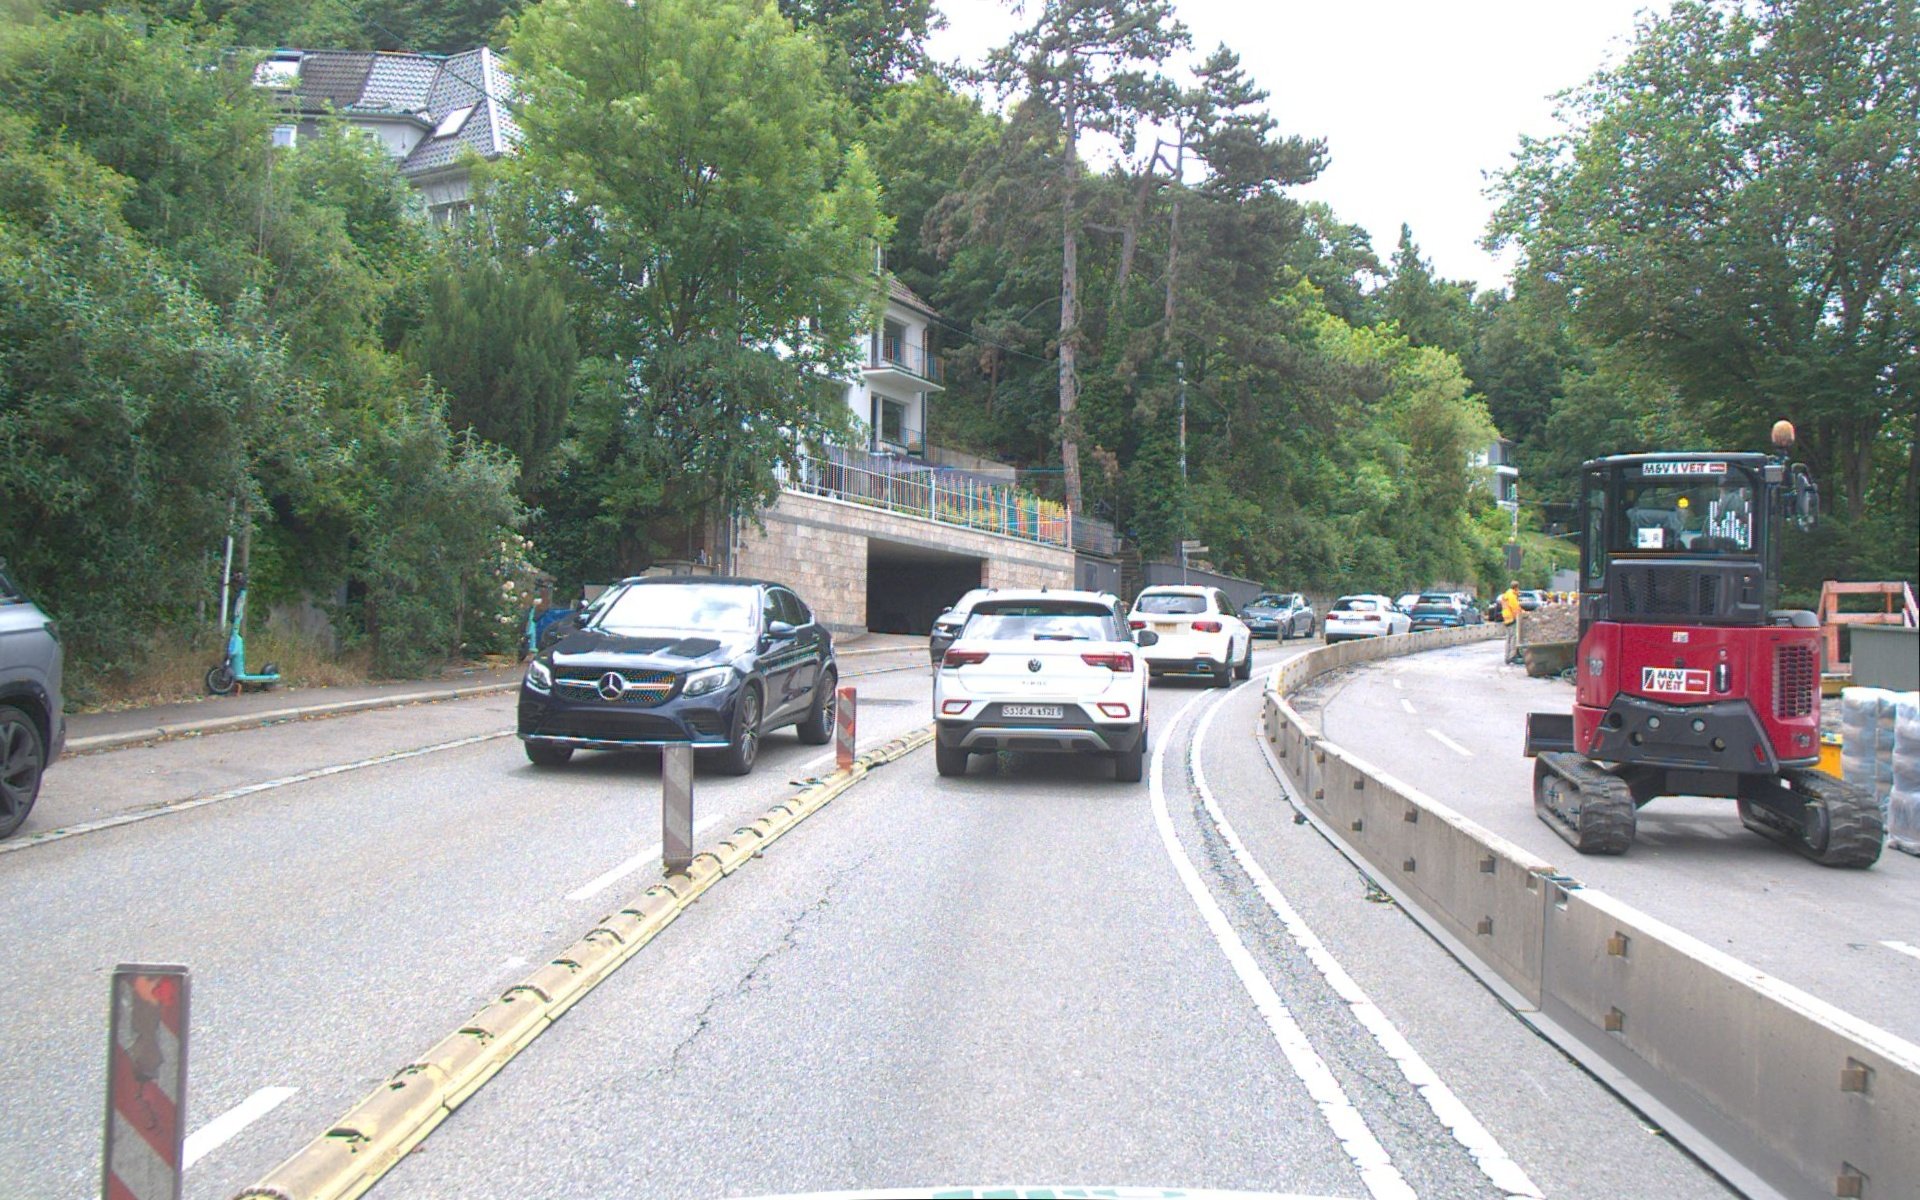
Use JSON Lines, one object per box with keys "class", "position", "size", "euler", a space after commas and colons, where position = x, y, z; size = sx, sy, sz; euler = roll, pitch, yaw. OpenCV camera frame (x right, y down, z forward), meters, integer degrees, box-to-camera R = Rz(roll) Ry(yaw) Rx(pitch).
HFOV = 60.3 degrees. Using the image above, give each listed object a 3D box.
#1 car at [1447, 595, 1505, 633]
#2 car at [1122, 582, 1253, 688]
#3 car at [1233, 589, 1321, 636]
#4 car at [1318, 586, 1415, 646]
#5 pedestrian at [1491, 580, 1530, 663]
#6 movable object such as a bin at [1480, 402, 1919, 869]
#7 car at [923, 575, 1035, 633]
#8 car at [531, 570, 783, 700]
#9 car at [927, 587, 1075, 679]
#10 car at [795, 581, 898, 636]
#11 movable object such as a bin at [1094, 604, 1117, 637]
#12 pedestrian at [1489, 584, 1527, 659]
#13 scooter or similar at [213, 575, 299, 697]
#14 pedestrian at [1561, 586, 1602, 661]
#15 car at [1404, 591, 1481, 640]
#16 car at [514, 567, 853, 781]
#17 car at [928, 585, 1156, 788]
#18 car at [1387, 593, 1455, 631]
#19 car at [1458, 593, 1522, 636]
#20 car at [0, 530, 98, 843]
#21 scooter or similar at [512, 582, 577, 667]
{"class": "car", "position": [23.789, 0.623, 76.193], "size": [1.775, 1.692, 3.993], "euler": [0, 0, 29]}
{"class": "car", "position": [3.983, 0.547, 28.471], "size": [1.771, 1.692, 4.003], "euler": [0, 0, 15]}
{"class": "car", "position": [10.398, 0.379, 54.051], "size": [1.733, 1.460, 4.304], "euler": [1, 0, 26]}
{"class": "car", "position": [12.015, 0.438, 48.714], "size": [1.775, 1.692, 3.993], "euler": [0, 0, 29]}
{"class": "pedestrian", "position": [13.008, 0.494, 39.096], "size": [0.676, 1.940, 0.826], "euler": [0, 0, 4]}
{"class": "movable object such as a bin", "position": [5.282, 0.184, 12.173], "size": [2.164, 2.709, 4.949], "euler": [1, 0, 11]}
{"class": "car", "position": [0.586, 0.130, 47.209], "size": [1.747, 1.478, 3.698], "euler": [2, -1, 26]}
{"class": "car", "position": [-3.980, 0.429, 22.619], "size": [1.699, 1.476, 4.687], "euler": [4, 1, 11]}
{"class": "car", "position": [0.846, 0.574, 30.971], "size": [1.730, 1.544, 4.028], "euler": [2, 0, 17]}
{"class": "car", "position": [-3.247, 0.282, 48.021], "size": [1.733, 1.444, 3.546], "euler": [2, -1, 18]}
{"class": "movable object such as a bin", "position": [4.501, 0.633, 51.032], "size": [0.538, 0.994, 0.509], "euler": [0, -1, 29]}
{"class": "pedestrian", "position": [13.622, 0.522, 41.116], "size": [0.857, 1.854, 0.879], "euler": [0, 0, 16]}
{"class": "scooter or similar", "position": [-7.412, 0.366, 17.448], "size": [0.342, 1.234, 1.046], "euler": [3, 0, 4]}
{"class": "pedestrian", "position": [14.404, 0.542, 38.328], "size": [0.768, 1.717, 0.783], "euler": [0, 0, 32]}
{"class": "car", "position": [17.085, 0.519, 58.462], "size": [1.775, 1.692, 3.993], "euler": [0, 0, 29]}
{"class": "car", "position": [-2.288, 0.556, 14.875], "size": [1.730, 1.595, 4.233], "euler": [2, 0, 9]}
{"class": "car", "position": [0.875, 0.660, 15.029], "size": [1.771, 1.558, 4.003], "euler": [1, 1, 7]}
{"class": "car", "position": [19.477, 0.499, 69.780], "size": [1.734, 1.477, 4.301], "euler": [2, 1, 29]}
{"class": "car", "position": [21.678, 0.570, 67.559], "size": [1.775, 1.692, 3.993], "euler": [0, 0, 29]}
{"class": "car", "position": [-5.880, 0.404, 7.343], "size": [1.652, 1.634, 4.188], "euler": [3, 0, 3]}
{"class": "scooter or similar", "position": [-6.337, 0.373, 25.272], "size": [0.407, 1.253, 1.122], "euler": [3, 0, 14]}
